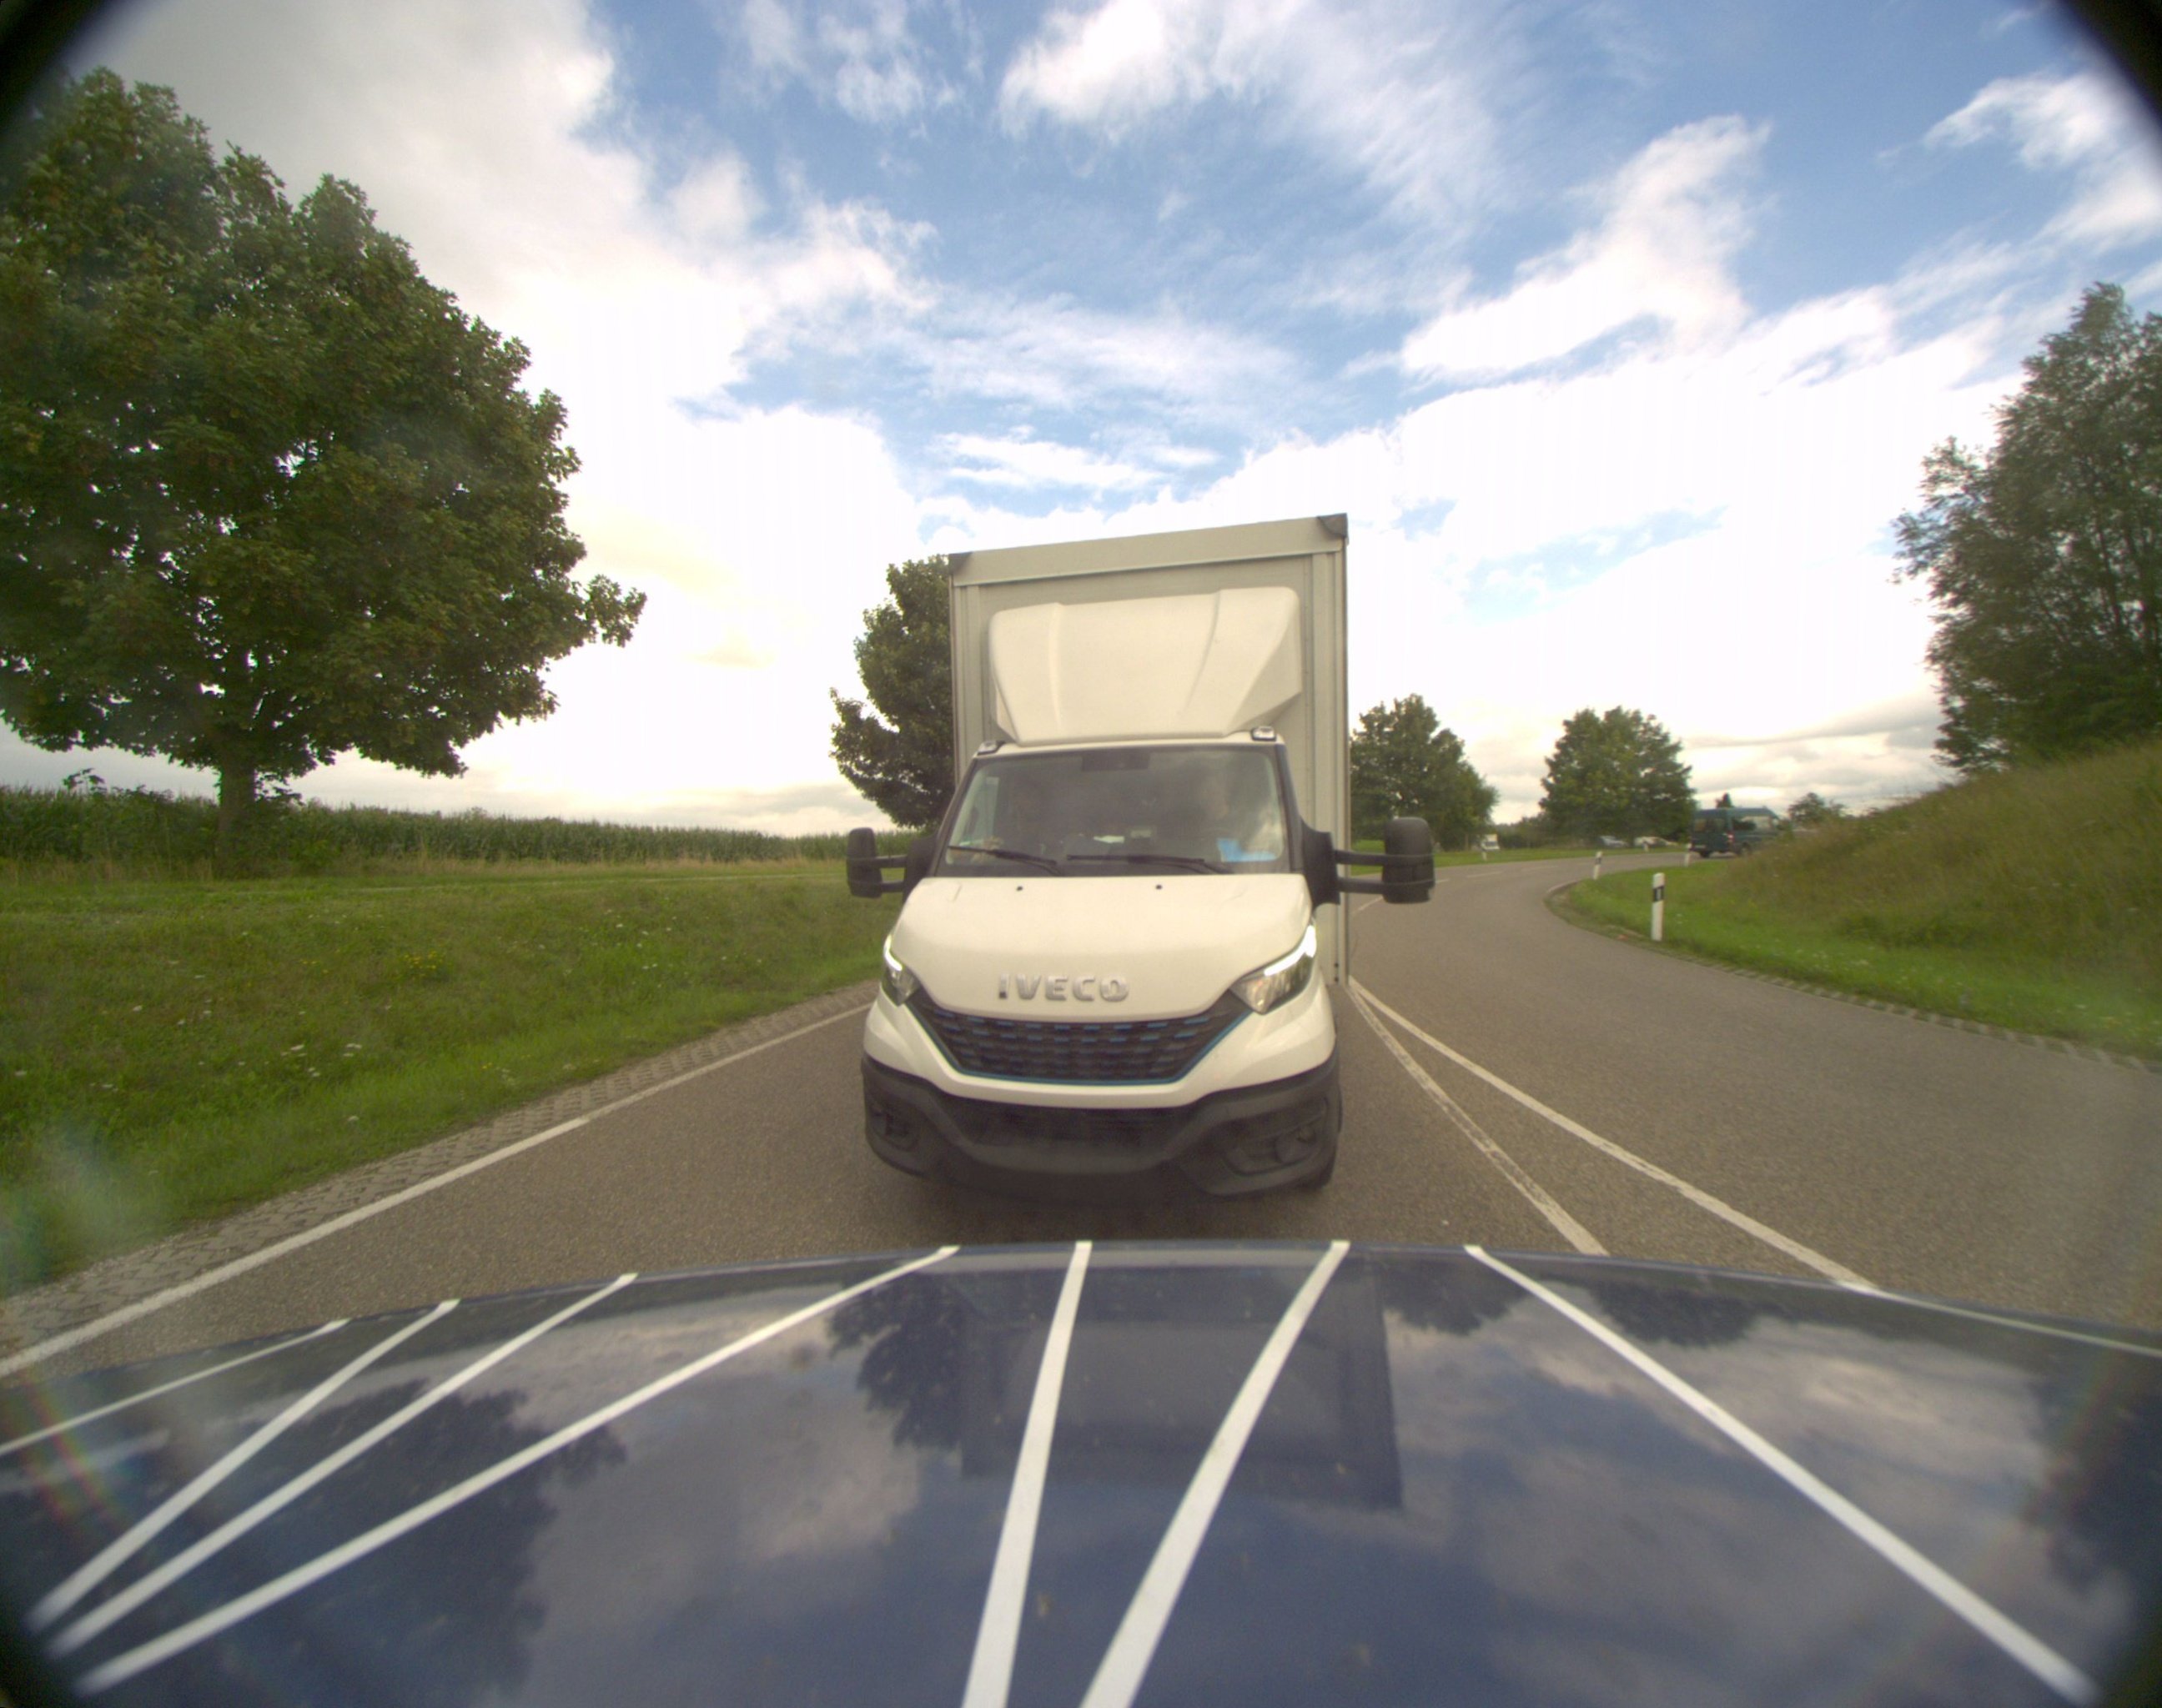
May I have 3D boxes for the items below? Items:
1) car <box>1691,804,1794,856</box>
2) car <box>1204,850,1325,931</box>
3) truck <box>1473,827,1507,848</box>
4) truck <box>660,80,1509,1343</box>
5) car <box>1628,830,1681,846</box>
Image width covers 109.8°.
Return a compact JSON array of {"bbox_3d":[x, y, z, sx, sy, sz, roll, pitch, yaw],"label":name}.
[{"bbox_3d":[34.892,-1.260,40.075,5.127,2.615,1.996,-1,1,-22],"label":"car"},{"bbox_3d":[3.988,0.694,16.027,1.747,1.457,4.006,-2,0,24],"label":"car"},{"bbox_3d":[50.486,-1.998,93.921,2.288,2.407,6.389,-2,0,15],"label":"truck"},{"bbox_3d":[0.732,-0.394,6.844,2.834,3.741,8.807,-1,0,11],"label":"truck"},{"bbox_3d":[64.662,-1.800,85.736,4.393,1.576,2.003,-2,0,27],"label":"car"}]
